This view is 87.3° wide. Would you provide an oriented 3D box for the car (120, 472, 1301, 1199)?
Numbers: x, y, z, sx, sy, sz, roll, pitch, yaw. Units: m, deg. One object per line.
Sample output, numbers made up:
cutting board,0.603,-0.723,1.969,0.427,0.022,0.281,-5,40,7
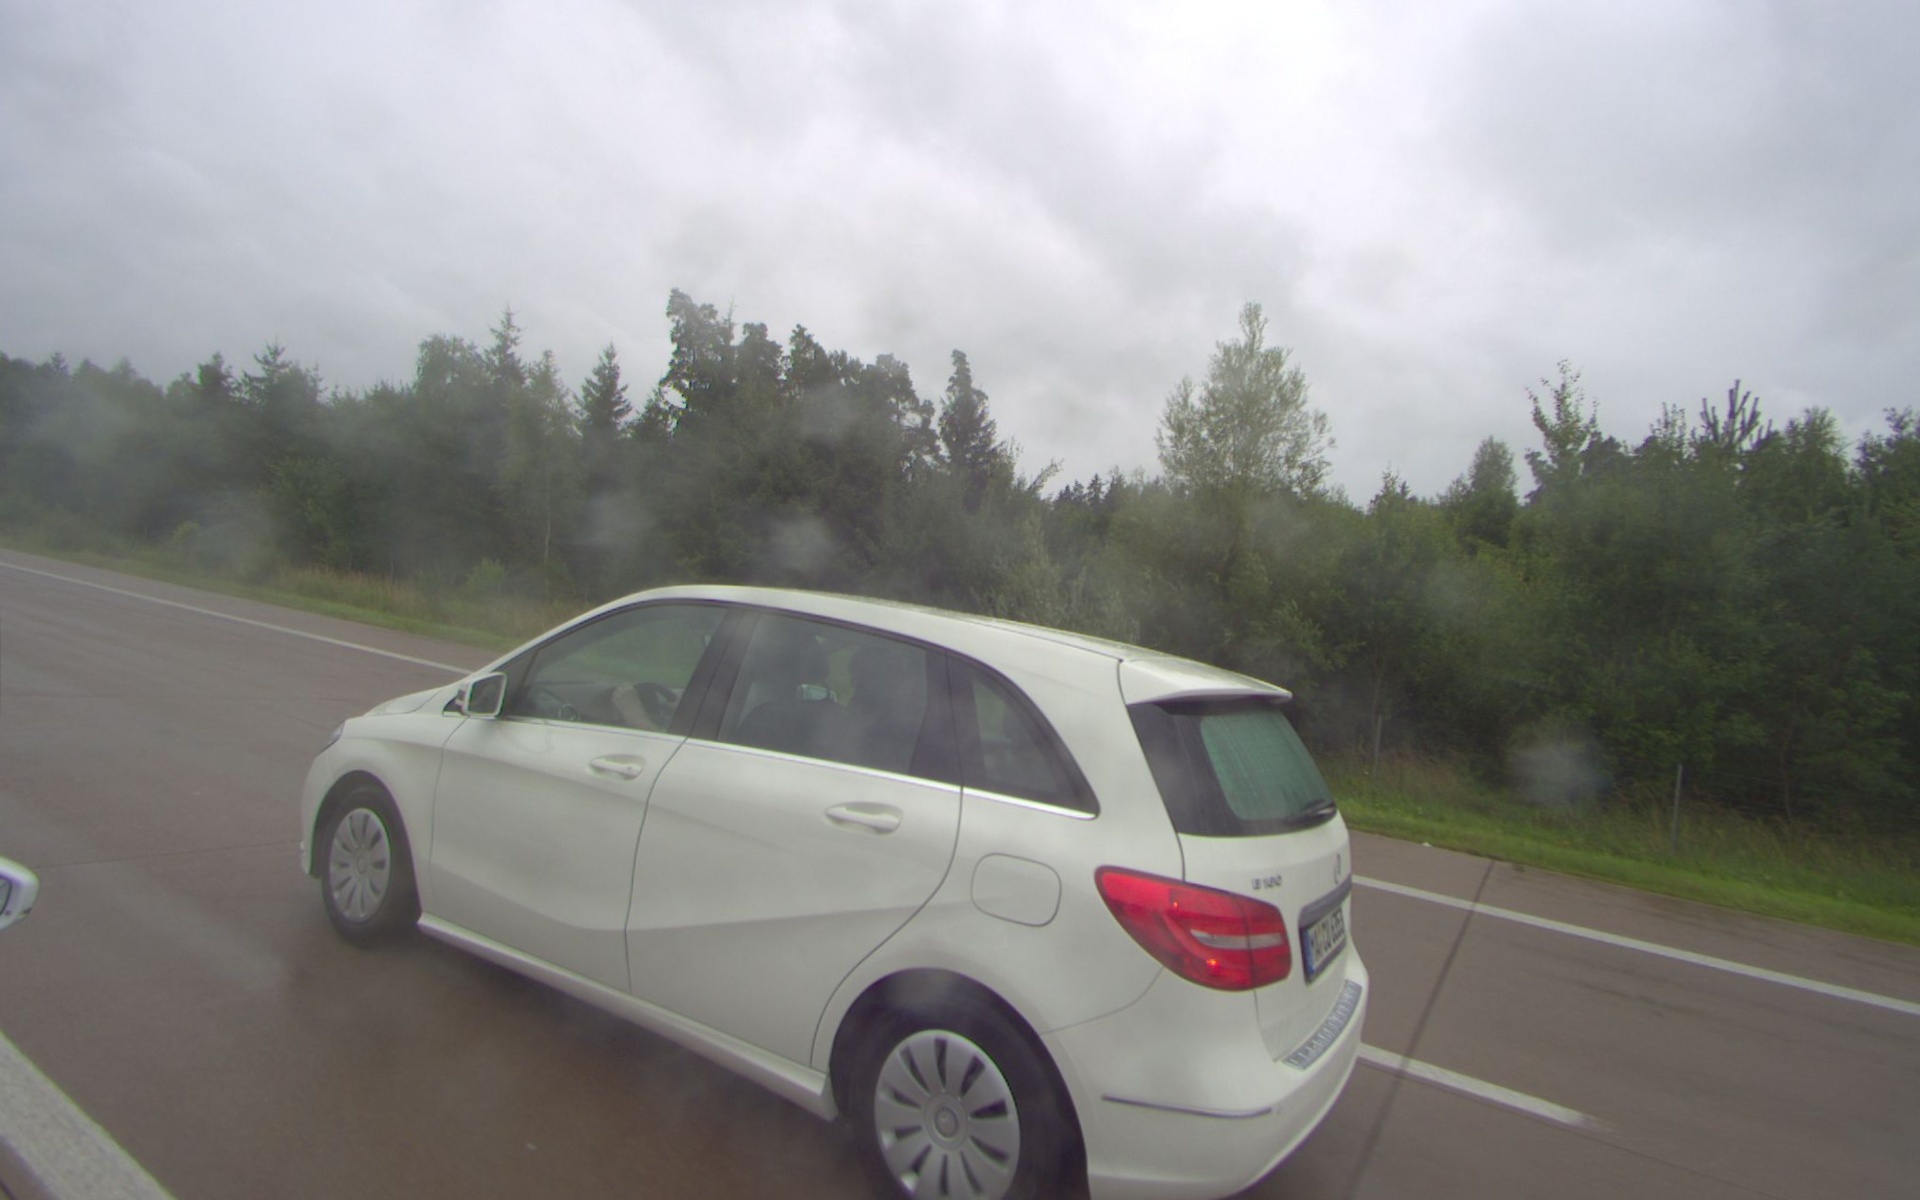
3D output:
car,-1.257,0.606,4.192,4.663,1.748,1.813,7,-2,30
